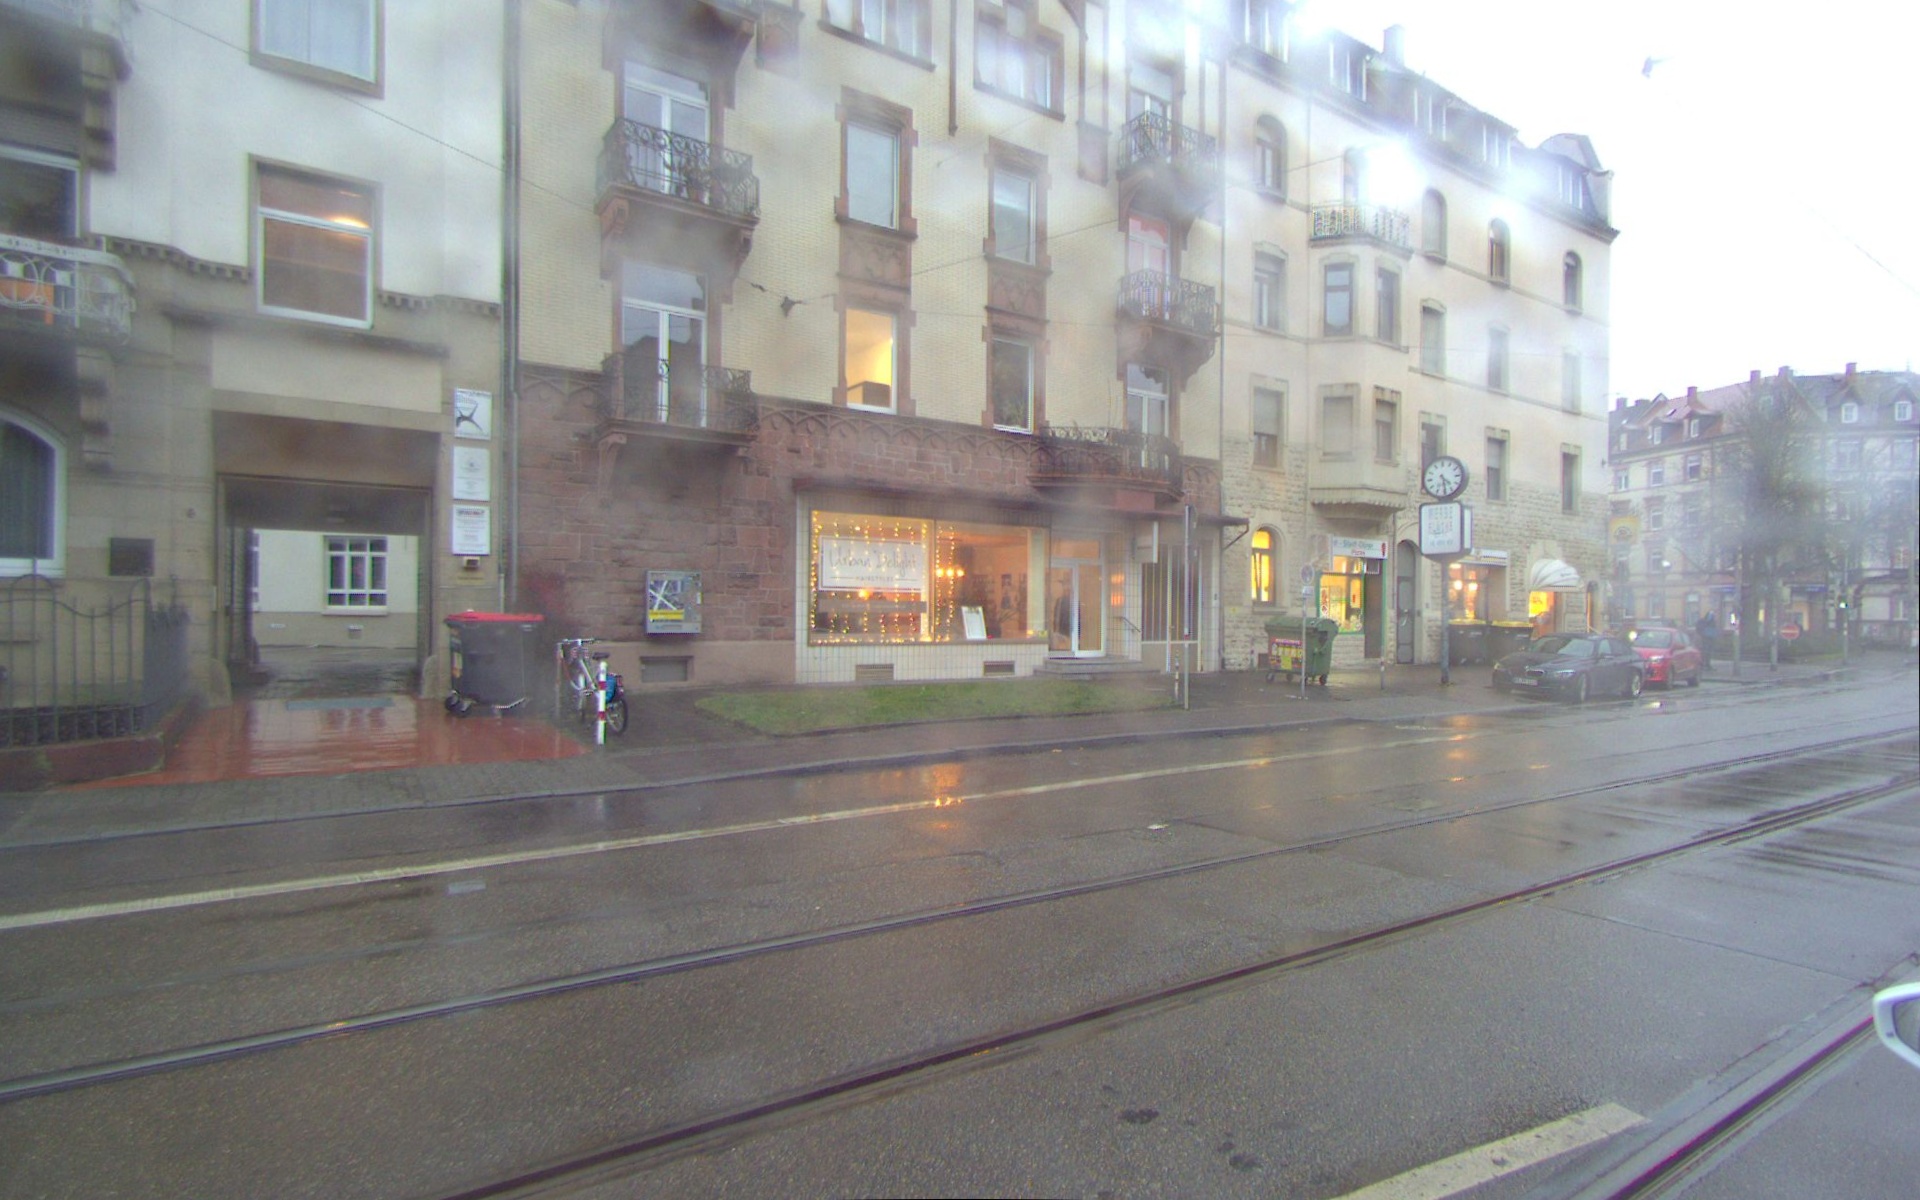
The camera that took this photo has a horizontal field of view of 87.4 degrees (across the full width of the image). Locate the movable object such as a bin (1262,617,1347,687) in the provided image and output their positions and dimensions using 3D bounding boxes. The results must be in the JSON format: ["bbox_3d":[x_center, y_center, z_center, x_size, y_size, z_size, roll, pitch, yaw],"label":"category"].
[{"bbox_3d":[7.478,1.102,21.853,1.236,1.439,1.260,1,0,-33],"label":"movable object such as a bin"}]

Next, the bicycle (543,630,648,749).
[{"bbox_3d":[-4.308,0.977,11.755,0.687,1.120,2.336,1,1,-32],"label":"bicycle"}]

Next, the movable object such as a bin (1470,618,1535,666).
[{"bbox_3d":[16.333,1.252,30.240,1.239,1.385,1.286,1,0,-34],"label":"movable object such as a bin"}]

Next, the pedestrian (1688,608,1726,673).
[{"bbox_3d":[23.804,1.269,32.028,0.635,2.040,0.758,1,0,3],"label":"pedestrian"}]

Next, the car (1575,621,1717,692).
[{"bbox_3d":[18.337,1.425,26.804,3.997,1.573,2.021,0,3,-39],"label":"car"}]

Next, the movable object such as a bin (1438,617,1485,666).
[{"bbox_3d":[14.940,1.229,29.929,0.996,1.396,0.893,1,0,-33],"label":"movable object such as a bin"}]

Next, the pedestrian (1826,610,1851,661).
[{"bbox_3d":[35.546,1.440,40.647,0.695,2.040,0.658,0,0,37],"label":"pedestrian"}]

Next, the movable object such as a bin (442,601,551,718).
[{"bbox_3d":[-6.080,0.743,13.144,1.155,1.398,1.096,1,2,-32],"label":"movable object such as a bin"}]

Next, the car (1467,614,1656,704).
[{"bbox_3d":[13.677,1.293,22.754,4.587,1.667,1.972,2,3,-37],"label":"car"}]
